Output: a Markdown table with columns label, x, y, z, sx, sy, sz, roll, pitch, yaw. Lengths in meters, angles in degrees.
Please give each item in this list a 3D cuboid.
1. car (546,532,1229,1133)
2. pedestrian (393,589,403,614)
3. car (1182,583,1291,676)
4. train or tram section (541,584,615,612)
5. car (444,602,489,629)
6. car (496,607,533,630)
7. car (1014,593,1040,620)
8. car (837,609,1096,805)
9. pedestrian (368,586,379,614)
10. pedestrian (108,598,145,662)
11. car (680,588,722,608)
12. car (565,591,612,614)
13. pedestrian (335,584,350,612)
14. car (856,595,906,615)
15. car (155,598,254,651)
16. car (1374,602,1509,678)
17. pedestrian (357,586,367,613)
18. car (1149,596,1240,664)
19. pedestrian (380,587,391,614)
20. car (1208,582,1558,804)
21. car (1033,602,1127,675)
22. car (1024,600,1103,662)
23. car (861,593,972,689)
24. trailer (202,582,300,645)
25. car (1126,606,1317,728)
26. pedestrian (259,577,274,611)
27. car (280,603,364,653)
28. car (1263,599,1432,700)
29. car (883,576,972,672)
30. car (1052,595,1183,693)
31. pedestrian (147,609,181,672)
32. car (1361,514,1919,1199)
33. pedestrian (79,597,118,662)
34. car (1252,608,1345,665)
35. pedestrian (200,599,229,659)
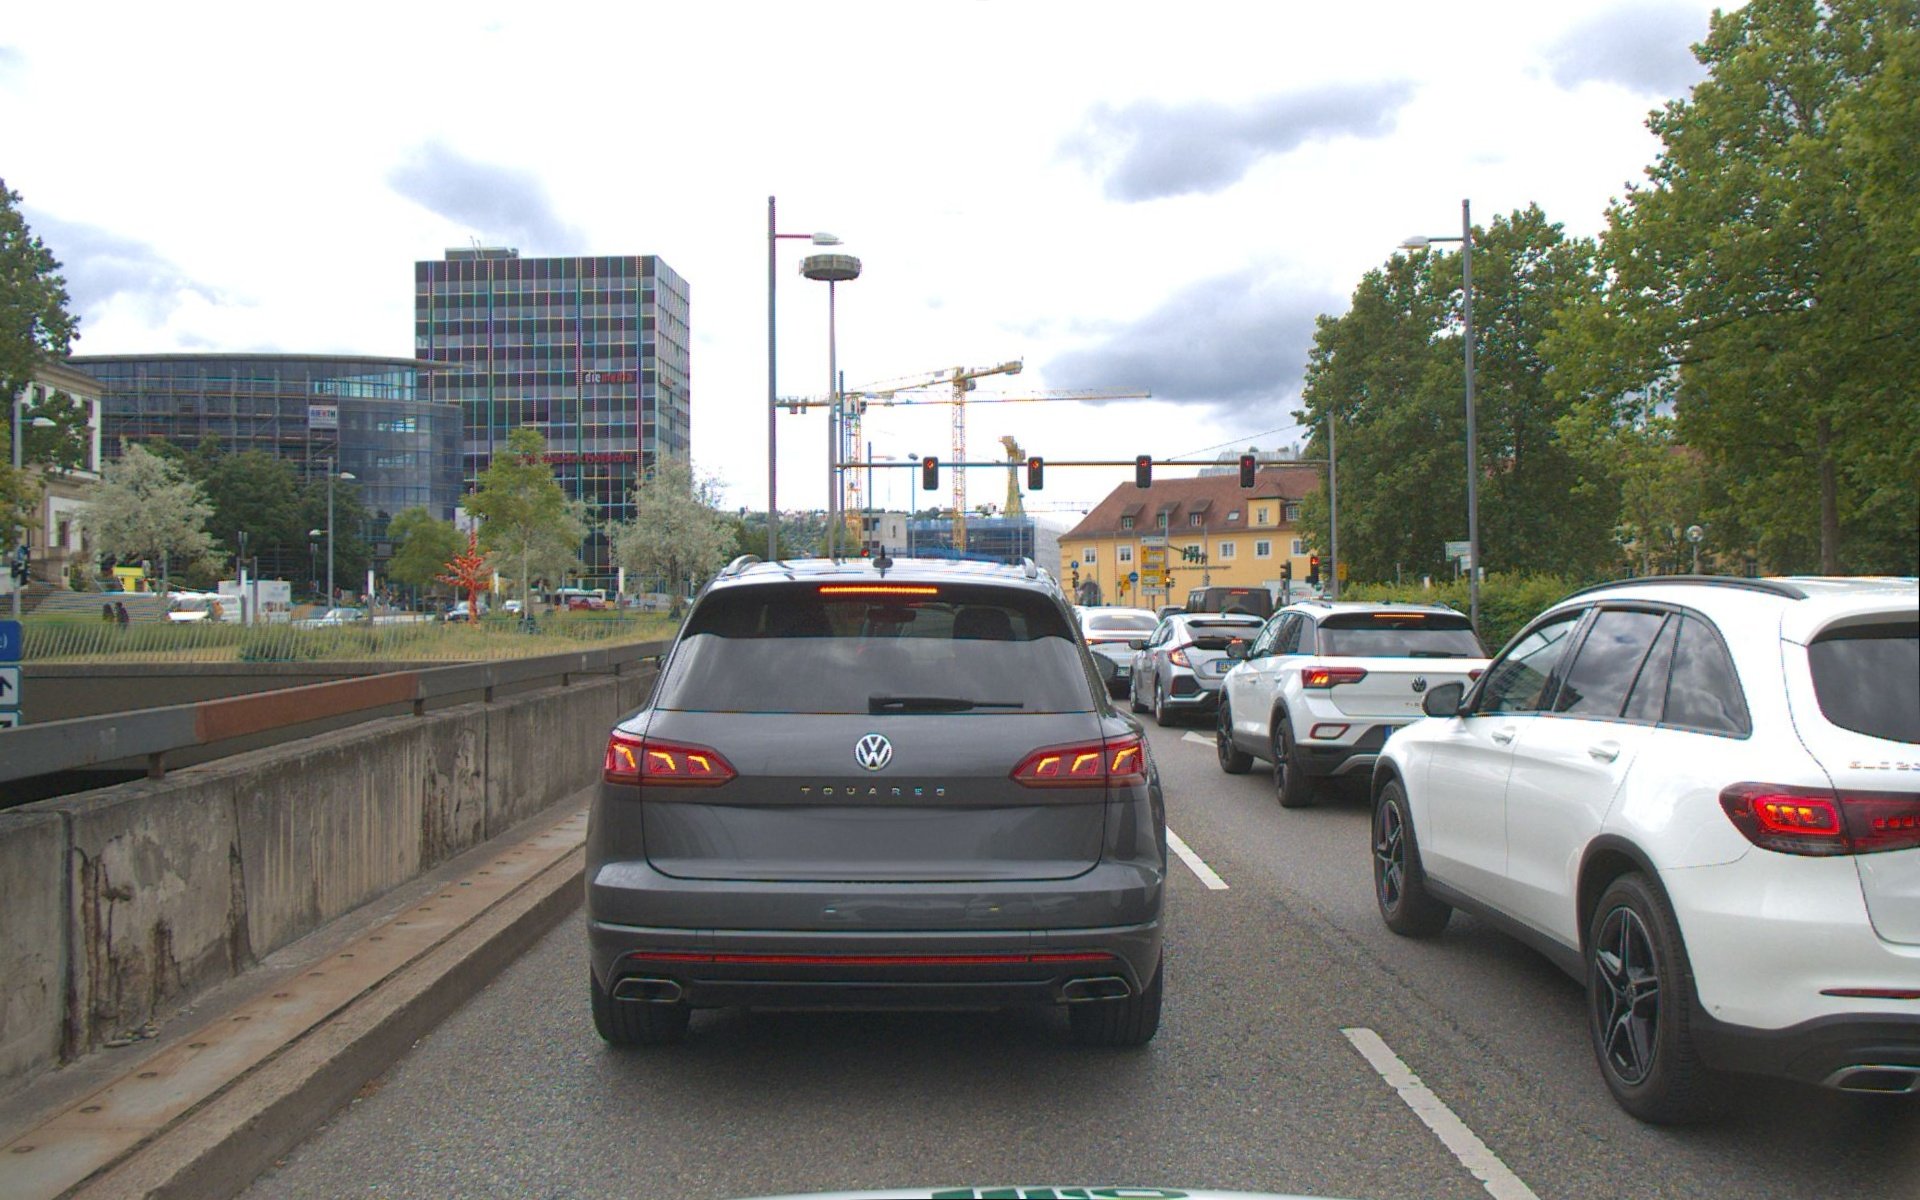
| label | x | y | z | sx | sy | sz | roll | pitch | yaw |
| --- | --- | --- | --- | --- | --- | --- | --- | --- | --- |
| car | -0.232 | 0.659 | 6.652 | 1.912 | 1.680 | 3.999 | 0 | 0 | -1 |
| pedestrian | -46.369 | 0.087 | 136.478 | 0.726 | 2.049 | 0.789 | -1 | 1 | -16 |
| car | 6.482 | 0.686 | 39.203 | 1.871 | 2.049 | 4.011 | 2 | -1 | 0 |
| train or tram section | -44.035 | -0.261 | 190.553 | 8.750 | 3.062 | 2.593 | 1 | -2 | 28 |
| car | -29.511 | 0.945 | 98.988 | 1.697 | 1.521 | 3.592 | 2 | -1 | -3 |
| car | -30.758 | 1.289 | 114.252 | 1.697 | 1.521 | 3.592 | 2 | -1 | -3 |
| car | 4.514 | 0.464 | 111.511 | 1.586 | 1.656 | 3.999 | 2 | -1 | 0 |
| car | 0.019 | 0.816 | 14.390 | 1.912 | 1.408 | 3.930 | 2 | 0 | -1 |
| pedestrian | -44.394 | -0.019 | 125.244 | 0.727 | 2.049 | 0.915 | -1 | 1 | -20 |
| pedestrian | -27.322 | 0.976 | 54.199 | 0.774 | 2.049 | 0.836 | -1 | 0 | -3 |
| car | -28.479 | -0.254 | 181.833 | 4.367 | 2.049 | 1.994 | 1 | -2 | 33 |
| car | -36.188 | 0.229 | 161.102 | 4.600 | 2.048 | 1.992 | 1 | 1 | 38 |
| pedestrian | -45.836 | -0.174 | 122.764 | 0.723 | 2.049 | 0.793 | -1 | 1 | 0 |
| car | -6.774 | 0.460 | 141.657 | 4.142 | 1.631 | 1.746 | 1 | -1 | 36 |
| car | -31.371 | 0.989 | 68.823 | 1.953 | 2.048 | 4.692 | 0 | 1 | 0 |
| car | 10.199 | 0.852 | 35.363 | 1.891 | 1.485 | 4.529 | 1 | -1 | 5 |
| pedestrian | -45.334 | -0.039 | 125.385 | 0.727 | 2.049 | 0.915 | -1 | 1 | -20 |
| car | 6.302 | 0.798 | 44.779 | 1.871 | 1.727 | 4.011 | 2 | -1 | 0 |
| pedestrian | -43.799 | 0.023 | 126.046 | 0.727 | 2.049 | 0.915 | -1 | 1 | -20 |
| car | 3.388 | 0.699 | 14.163 | 1.887 | 1.578 | 4.489 | 1 | -1 | 0 |
| car | 2.684 | 0.853 | 37.776 | 1.887 | 1.556 | 4.047 | 1 | -1 | 0 |
| car | 2.706 | 0.819 | 44.064 | 1.887 | 1.556 | 4.047 | 1 | -1 | 0 |
| car | -0.800 | 0.727 | 31.007 | 1.912 | 1.628 | 3.930 | 2 | 0 | -1 |
| trailer | -31.579 | 0.537 | 73.856 | 1.996 | 2.650 | 5.507 | 2 | 1 | -1 |
| car | 3.385 | 0.842 | 22.241 | 1.887 | 1.457 | 4.489 | 1 | -1 | 0 |
| pedestrian | -42.815 | -0.367 | 102.125 | 0.726 | 2.049 | 0.790 | 0 | -2 | -15 |
| car | -28.585 | 1.232 | 74.290 | 1.953 | 2.048 | 4.692 | 0 | 1 | 0 |
| car | 6.822 | 0.820 | 29.580 | 1.953 | 1.668 | 4.303 | 0 | 0 | -1 |
| car | -0.755 | 0.534 | 38.544 | 1.912 | 2.053 | 3.930 | 2 | 0 | -1 |
| car | 2.669 | 0.740 | 28.956 | 1.887 | 1.556 | 4.489 | 1 | -1 | 0 |
| pedestrian | -26.465 | 1.345 | 54.992 | 0.855 | 2.049 | 0.620 | -1 | 1 | -41 |
| car | 2.987 | 0.642 | 6.250 | 1.887 | 1.682 | 4.489 | 0 | 0 | 0 |
| pedestrian | -27.789 | 0.942 | 53.354 | 0.776 | 2.049 | 0.834 | 0 | 1 | 33 |
| car | 9.348 | 0.981 | 45.913 | 1.722 | 1.472 | 3.632 | 2 | -1 | -2 |
| pedestrian | -26.311 | 1.013 | 58.399 | 0.716 | 2.047 | 0.628 | -1 | 4 | -8 |
